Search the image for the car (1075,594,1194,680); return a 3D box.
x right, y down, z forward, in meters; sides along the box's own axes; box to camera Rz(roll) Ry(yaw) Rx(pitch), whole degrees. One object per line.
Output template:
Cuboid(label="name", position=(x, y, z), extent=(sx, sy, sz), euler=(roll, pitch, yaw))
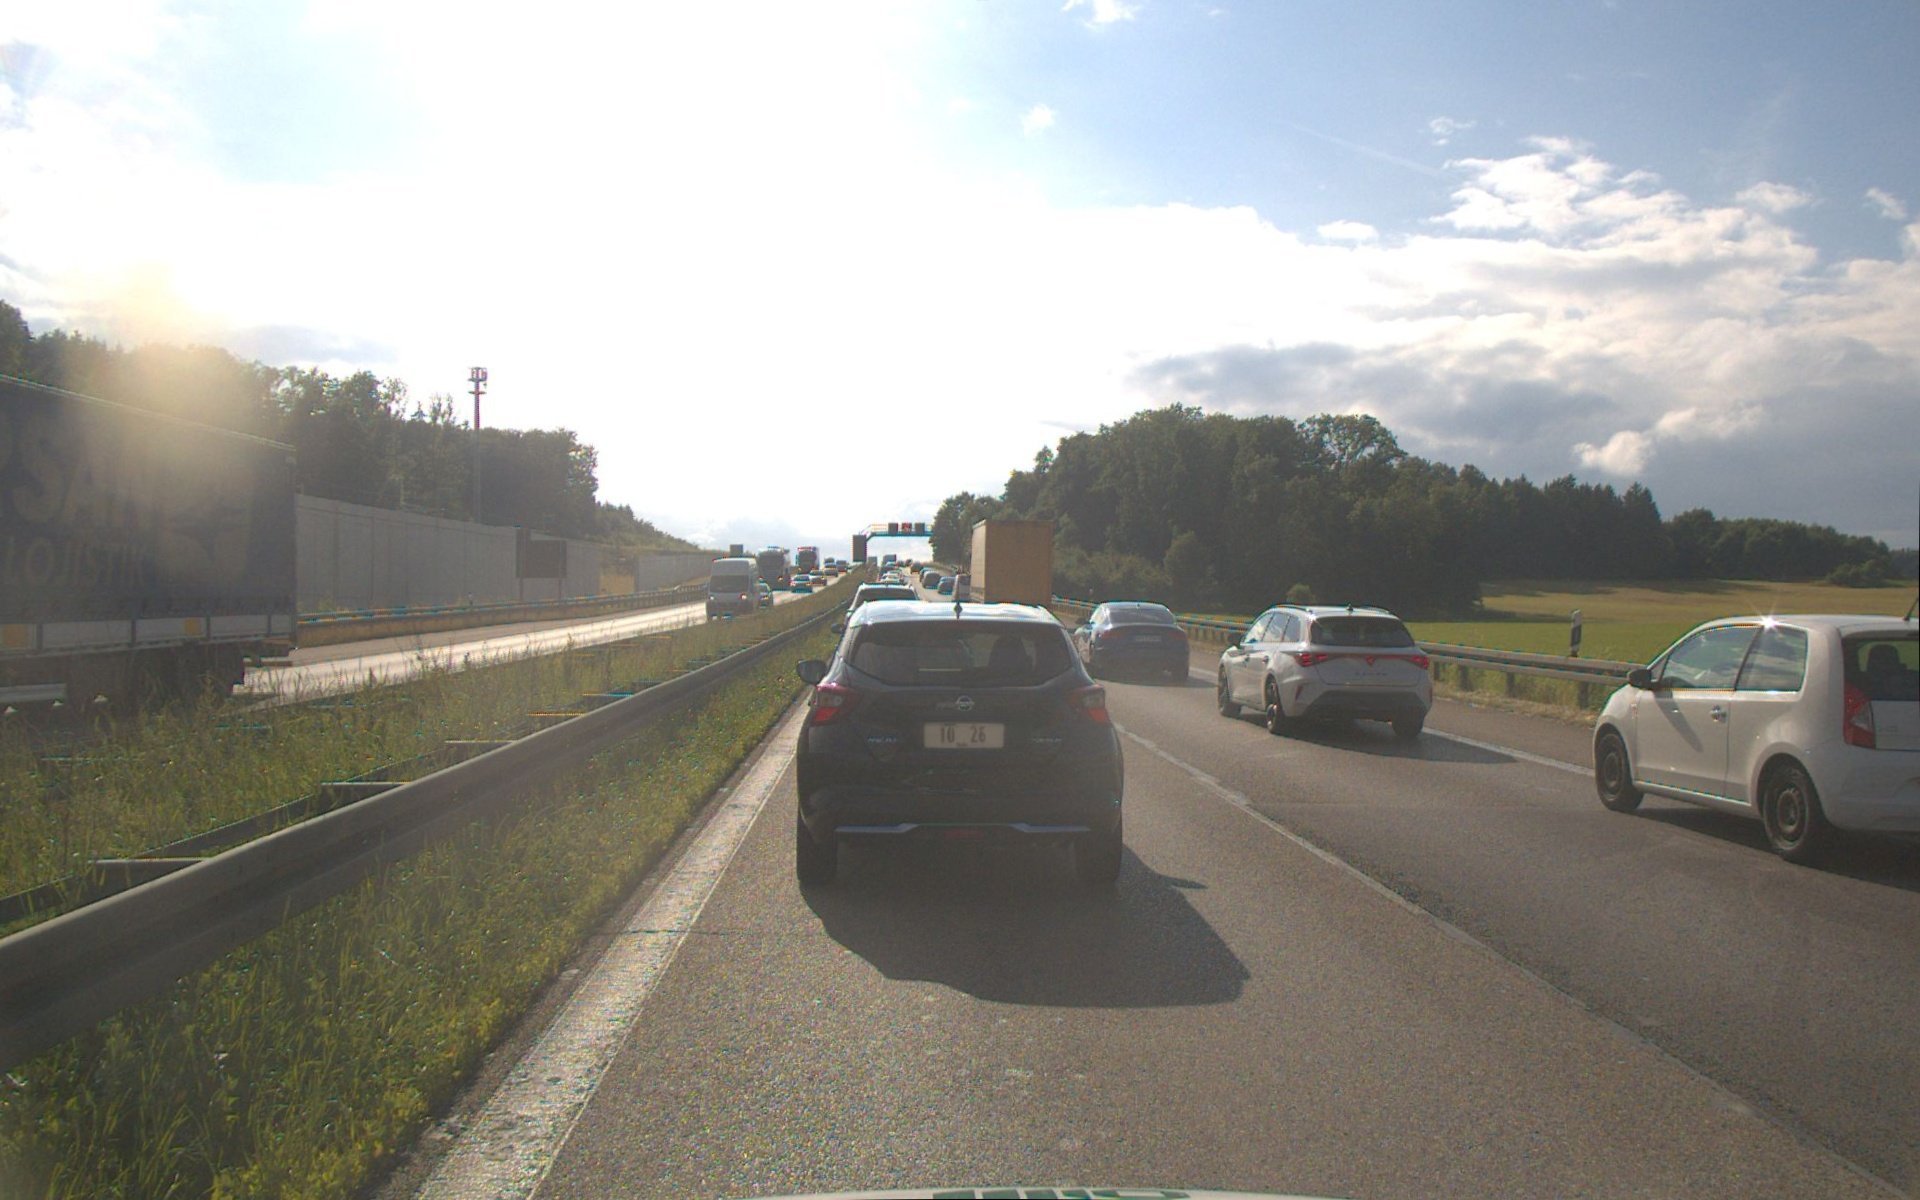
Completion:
Cuboid(label="car", position=(3.245, 0.664, 31.451), extent=(1.712, 1.501, 4.145), euler=(1, 0, -1))

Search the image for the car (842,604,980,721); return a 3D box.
Cuboid(label="car", position=(-0.635, 0.768, 21.761), extent=(1.640, 1.391, 3.595), euler=(1, 0, -1))

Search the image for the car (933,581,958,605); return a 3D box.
Cuboid(label="car", position=(-1.301, -0.598, 143.887), extent=(1.954, 2.049, 3.997), euler=(1, 0, -3))

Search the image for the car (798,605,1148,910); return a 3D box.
Cuboid(label="car", position=(0.041, 0.771, 9.689), extent=(1.675, 1.451, 3.377), euler=(1, 0, -1))

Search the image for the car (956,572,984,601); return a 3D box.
Cuboid(label="car", position=(0.626, -0.827, 105.504), extent=(1.633, 1.785, 3.326), euler=(1, 0, -1))

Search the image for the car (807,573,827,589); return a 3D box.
Cuboid(label="car", position=(-14.825, -1.963, 171.204), extent=(1.767, 1.543, 4.689), euler=(1, 0, -1))

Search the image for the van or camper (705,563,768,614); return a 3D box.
Cuboid(label="van or camper", position=(-10.243, -0.495, 76.335), extent=(2.122, 2.244, 6.257), euler=(1, 0, -1))

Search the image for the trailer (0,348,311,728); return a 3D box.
Cuboid(label="trailer", position=(-12.022, -0.677, 21.847), extent=(2.601, 4.152, 12.388), euler=(1, 0, -3))

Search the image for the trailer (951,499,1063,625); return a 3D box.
Cuboid(label="trailer", position=(1.683, -1.372, 67.021), extent=(3.478, 4.535, 12.714), euler=(1, 0, -3))

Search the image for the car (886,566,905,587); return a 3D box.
Cuboid(label="car", position=(-6.832, -2.485, 174.775), extent=(1.954, 2.049, 3.997), euler=(1, 0, -3))

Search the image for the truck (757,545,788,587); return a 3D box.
Cuboid(label="truck", position=(-17.938, -3.205, 158.469), extent=(2.501, 3.865, 5.415), euler=(-1, 0, -2))

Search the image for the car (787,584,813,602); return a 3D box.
Cuboid(label="car", position=(-14.025, -0.635, 145.133), extent=(1.953, 1.512, 4.397), euler=(1, 0, -1))

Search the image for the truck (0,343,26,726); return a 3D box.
Cuboid(label="truck", position=(-11.595, -0.741, 14.890), extent=(2.585, 4.169, 6.998), euler=(1, 0, -3))

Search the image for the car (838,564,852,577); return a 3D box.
Cuboid(label="car", position=(-17.547, -4.514, 252.267), extent=(1.953, 1.916, 4.785), euler=(-2, 0, -2))

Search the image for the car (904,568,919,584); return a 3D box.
Cuboid(label="car", position=(-6.871, -3.372, 233.424), extent=(1.954, 2.049, 3.997), euler=(1, 0, -3))

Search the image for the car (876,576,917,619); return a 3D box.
Cuboid(label="car", position=(-3.230, -0.106, 83.183), extent=(1.954, 2.049, 3.997), euler=(1, 0, -3))

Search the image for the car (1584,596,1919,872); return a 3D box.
Cuboid(label="car", position=(5.670, 0.765, 11.061), extent=(1.518, 1.521, 3.375), euler=(1, 1, -4))

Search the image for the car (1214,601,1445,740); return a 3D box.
Cuboid(label="car", position=(4.278, 0.763, 19.783), extent=(1.588, 1.471, 4.143), euler=(1, 0, -4))

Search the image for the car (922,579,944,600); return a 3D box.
Cuboid(label="car", position=(-2.669, -1.017, 162.114), extent=(1.954, 2.049, 3.997), euler=(1, 0, -3))

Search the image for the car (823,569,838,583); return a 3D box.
Cuboid(label="car", position=(-17.320, -3.221, 221.623), extent=(1.822, 1.866, 4.279), euler=(1, 0, -2))

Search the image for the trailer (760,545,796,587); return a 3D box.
Cuboid(label="trailer", position=(-18.041, -3.296, 164.619), extent=(2.489, 3.837, 12.536), euler=(-1, 0, -2))

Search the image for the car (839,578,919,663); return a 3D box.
Cuboid(label="car", position=(-1.727, 0.433, 36.241), extent=(1.640, 1.756, 3.595), euler=(1, 0, -1))
